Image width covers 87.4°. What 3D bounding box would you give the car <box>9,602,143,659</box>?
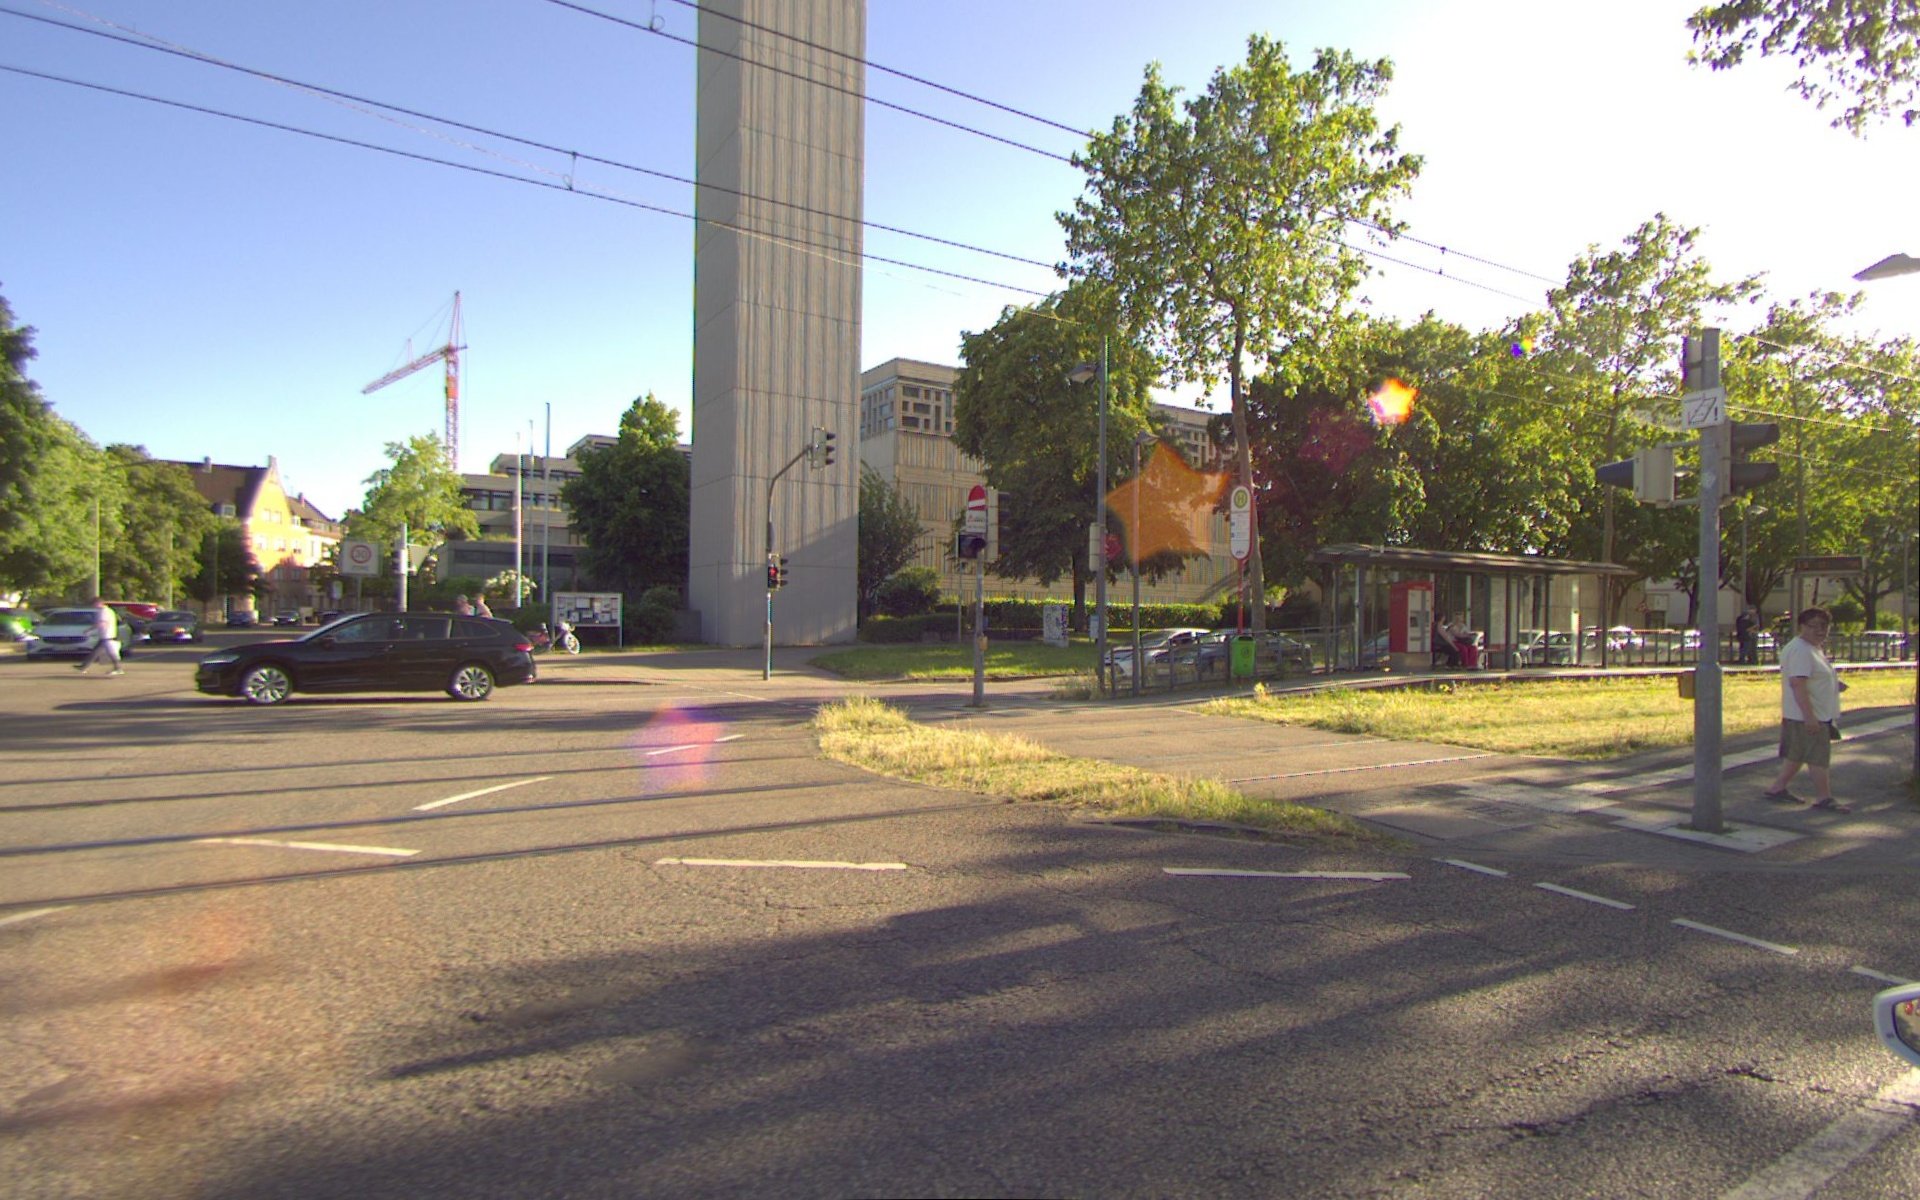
[{"bbox_3d":[-25.545,0.843,29.213,1.976,1.506,4.493,1,-1,-29],"label":"car"}]

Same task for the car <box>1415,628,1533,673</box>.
[{"bbox_3d":[16.917,1.638,33.029,3.952,1.372,1.544,2,-1,-29],"label":"car"}]

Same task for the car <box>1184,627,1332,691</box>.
[{"bbox_3d":[6.238,1.207,20.983,2.930,1.220,1.319,2,-1,-29],"label":"car"}]

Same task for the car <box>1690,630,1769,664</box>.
[{"bbox_3d":[36.150,2.186,47.160,3.973,1.508,1.586,1,-1,-31],"label":"car"}]

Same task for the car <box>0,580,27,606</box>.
[{"bbox_3d":[-59.131,-0.452,60.424,3.865,1.572,1.996,1,-1,-12],"label":"car"}]

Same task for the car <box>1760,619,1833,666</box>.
[{"bbox_3d":[42.740,2.163,51.321,3.888,2.292,1.705,1,-1,-31],"label":"car"}]

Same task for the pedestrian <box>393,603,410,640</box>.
[{"bbox_3d":[-22.964,0.887,41.306,0.540,1.486,0.863,1,-1,-27],"label":"pedestrian"}]

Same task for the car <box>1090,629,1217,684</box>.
[{"bbox_3d":[5.092,1.443,26.269,3.385,1.342,1.315,2,-1,-36],"label":"car"}]

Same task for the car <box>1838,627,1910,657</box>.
[{"bbox_3d":[50.360,2.292,55.321,3.883,1.566,1.707,1,-1,-27],"label":"car"}]

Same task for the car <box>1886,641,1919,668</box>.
[{"bbox_3d":[57.722,3.250,60.434,4.149,1.566,1.707,1,-1,-29],"label":"car"}]

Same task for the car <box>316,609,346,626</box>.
[{"bbox_3d":[-54.280,1.498,86.723,1.976,1.481,4.493,1,-1,-29],"label":"car"}]

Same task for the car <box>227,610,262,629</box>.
[{"bbox_3d":[-62.382,1.709,87.666,1.976,1.576,4.494,1,-1,-29],"label":"car"}]

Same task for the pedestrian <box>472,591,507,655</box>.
[{"bbox_3d":[-12.641,0.619,26.966,0.740,1.704,0.590,1,-1,-36],"label":"pedestrian"}]

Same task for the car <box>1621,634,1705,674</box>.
[{"bbox_3d":[31.066,2.338,44.365,3.884,1.658,1.586,1,-1,-31],"label":"car"}]

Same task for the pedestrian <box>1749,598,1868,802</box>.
[{"bbox_3d":[6.819,0.769,8.073,0.535,1.549,0.652,1,0,-42],"label":"pedestrian"}]

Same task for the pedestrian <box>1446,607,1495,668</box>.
[{"bbox_3d":[11.710,0.855,23.040,0.725,1.359,0.691,1,-1,-28],"label":"pedestrian"}]

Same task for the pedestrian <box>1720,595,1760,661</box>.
[{"bbox_3d":[22.500,0.800,28.979,0.629,1.892,0.717,1,0,-29],"label":"pedestrian"}]

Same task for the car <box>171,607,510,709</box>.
[{"bbox_3d":[-9.972,0.882,16.469,4.481,1.461,1.938,1,-1,-34],"label":"car"}]

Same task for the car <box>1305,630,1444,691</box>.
[{"bbox_3d":[10.728,1.517,25.939,3.497,1.446,1.596,1,-1,-32],"label":"car"}]

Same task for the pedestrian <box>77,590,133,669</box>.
[{"bbox_3d":[-18.917,0.648,22.237,0.872,1.718,0.590,1,-1,-36],"label":"pedestrian"}]

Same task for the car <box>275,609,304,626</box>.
[{"bbox_3d":[-64.965,1.648,97.334,1.976,1.576,4.494,1,-1,-29],"label":"car"}]

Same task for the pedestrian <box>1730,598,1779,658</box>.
[{"bbox_3d":[23.225,0.819,29.364,0.745,1.712,0.879,1,0,-29],"label":"pedestrian"}]

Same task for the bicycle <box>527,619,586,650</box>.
[{"bbox_3d":[-12.681,1.092,31.588,1.681,0.940,0.443,1,-1,-33],"label":"bicycle"}]

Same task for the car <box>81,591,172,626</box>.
[{"bbox_3d":[-51.017,0.537,61.589,3.954,2.040,1.983,1,0,-31],"label":"car"}]

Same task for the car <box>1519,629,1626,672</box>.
[{"bbox_3d":[21.859,1.771,35.837,3.882,1.464,1.587,1,-1,-29],"label":"car"}]

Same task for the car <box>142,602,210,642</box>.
[{"bbox_3d":[-35.378,0.971,45.410,1.765,1.737,3.969,1,-1,-29],"label":"car"}]

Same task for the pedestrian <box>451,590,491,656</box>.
[{"bbox_3d":[-13.372,0.627,27.449,0.872,1.746,0.590,1,-1,-36],"label":"pedestrian"}]

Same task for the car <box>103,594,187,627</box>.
[{"bbox_3d":[-53.218,0.706,65.648,3.954,2.040,1.983,1,0,-31],"label":"car"}]

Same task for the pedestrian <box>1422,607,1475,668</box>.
[{"bbox_3d":[10.984,0.836,22.605,0.761,1.359,0.732,1,-1,-16],"label":"pedestrian"}]
